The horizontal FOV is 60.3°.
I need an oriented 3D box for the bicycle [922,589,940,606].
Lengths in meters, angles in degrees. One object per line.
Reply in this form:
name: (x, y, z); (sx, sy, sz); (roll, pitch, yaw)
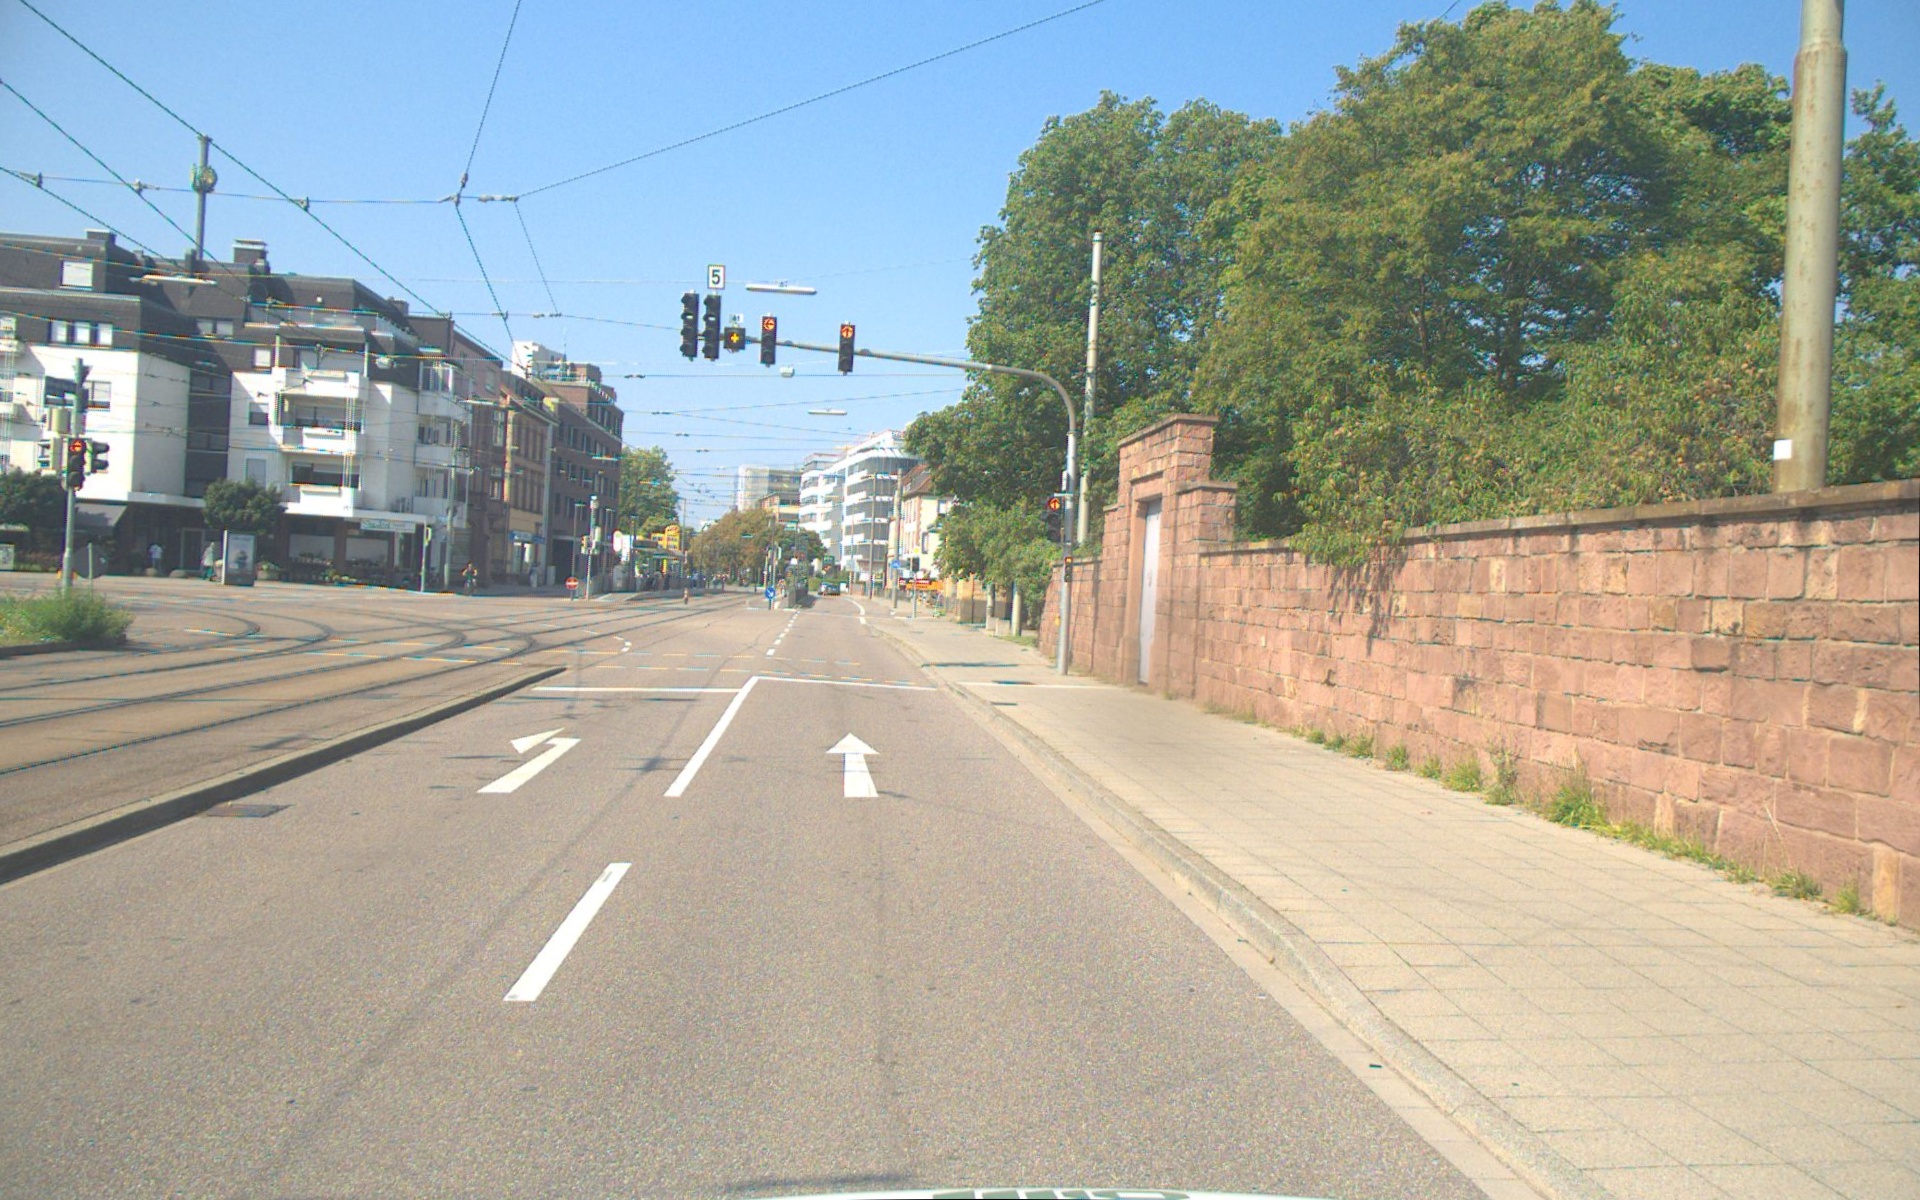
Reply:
bicycle: (-2.065, -0.189, 117.289); (0.718, 1.152, 2.832); (-1, 1, -12)

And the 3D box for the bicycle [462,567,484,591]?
bicycle: (-24.388, -1.048, 82.860); (0.563, 1.200, 2.207); (1, 1, -3)

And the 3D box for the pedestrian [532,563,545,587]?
pedestrian: (-29.463, -1.754, 115.574); (0.473, 1.587, 0.887); (4, -1, 6)

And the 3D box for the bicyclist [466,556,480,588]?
bicyclist: (-24.376, -1.396, 82.791); (0.557, 1.549, 0.489); (1, 0, -3)

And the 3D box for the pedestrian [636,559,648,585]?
pedestrian: (-21.909, -1.920, 113.908); (0.694, 1.753, 0.798); (1, 0, -4)

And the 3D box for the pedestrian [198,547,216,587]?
pedestrian: (-33.665, -1.457, 73.935); (0.594, 1.776, 0.558); (1, 0, -38)

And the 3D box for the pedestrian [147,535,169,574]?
pedestrian: (-37.242, -2.098, 76.832); (0.666, 1.771, 0.697); (1, 0, -4)

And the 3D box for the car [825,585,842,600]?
car: (-15.696, -0.936, 205.759); (1.971, 1.891, 3.997); (1, 0, -3)

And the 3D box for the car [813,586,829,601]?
car: (-17.792, -0.822, 211.710); (1.971, 1.891, 3.997); (1, 0, -3)
